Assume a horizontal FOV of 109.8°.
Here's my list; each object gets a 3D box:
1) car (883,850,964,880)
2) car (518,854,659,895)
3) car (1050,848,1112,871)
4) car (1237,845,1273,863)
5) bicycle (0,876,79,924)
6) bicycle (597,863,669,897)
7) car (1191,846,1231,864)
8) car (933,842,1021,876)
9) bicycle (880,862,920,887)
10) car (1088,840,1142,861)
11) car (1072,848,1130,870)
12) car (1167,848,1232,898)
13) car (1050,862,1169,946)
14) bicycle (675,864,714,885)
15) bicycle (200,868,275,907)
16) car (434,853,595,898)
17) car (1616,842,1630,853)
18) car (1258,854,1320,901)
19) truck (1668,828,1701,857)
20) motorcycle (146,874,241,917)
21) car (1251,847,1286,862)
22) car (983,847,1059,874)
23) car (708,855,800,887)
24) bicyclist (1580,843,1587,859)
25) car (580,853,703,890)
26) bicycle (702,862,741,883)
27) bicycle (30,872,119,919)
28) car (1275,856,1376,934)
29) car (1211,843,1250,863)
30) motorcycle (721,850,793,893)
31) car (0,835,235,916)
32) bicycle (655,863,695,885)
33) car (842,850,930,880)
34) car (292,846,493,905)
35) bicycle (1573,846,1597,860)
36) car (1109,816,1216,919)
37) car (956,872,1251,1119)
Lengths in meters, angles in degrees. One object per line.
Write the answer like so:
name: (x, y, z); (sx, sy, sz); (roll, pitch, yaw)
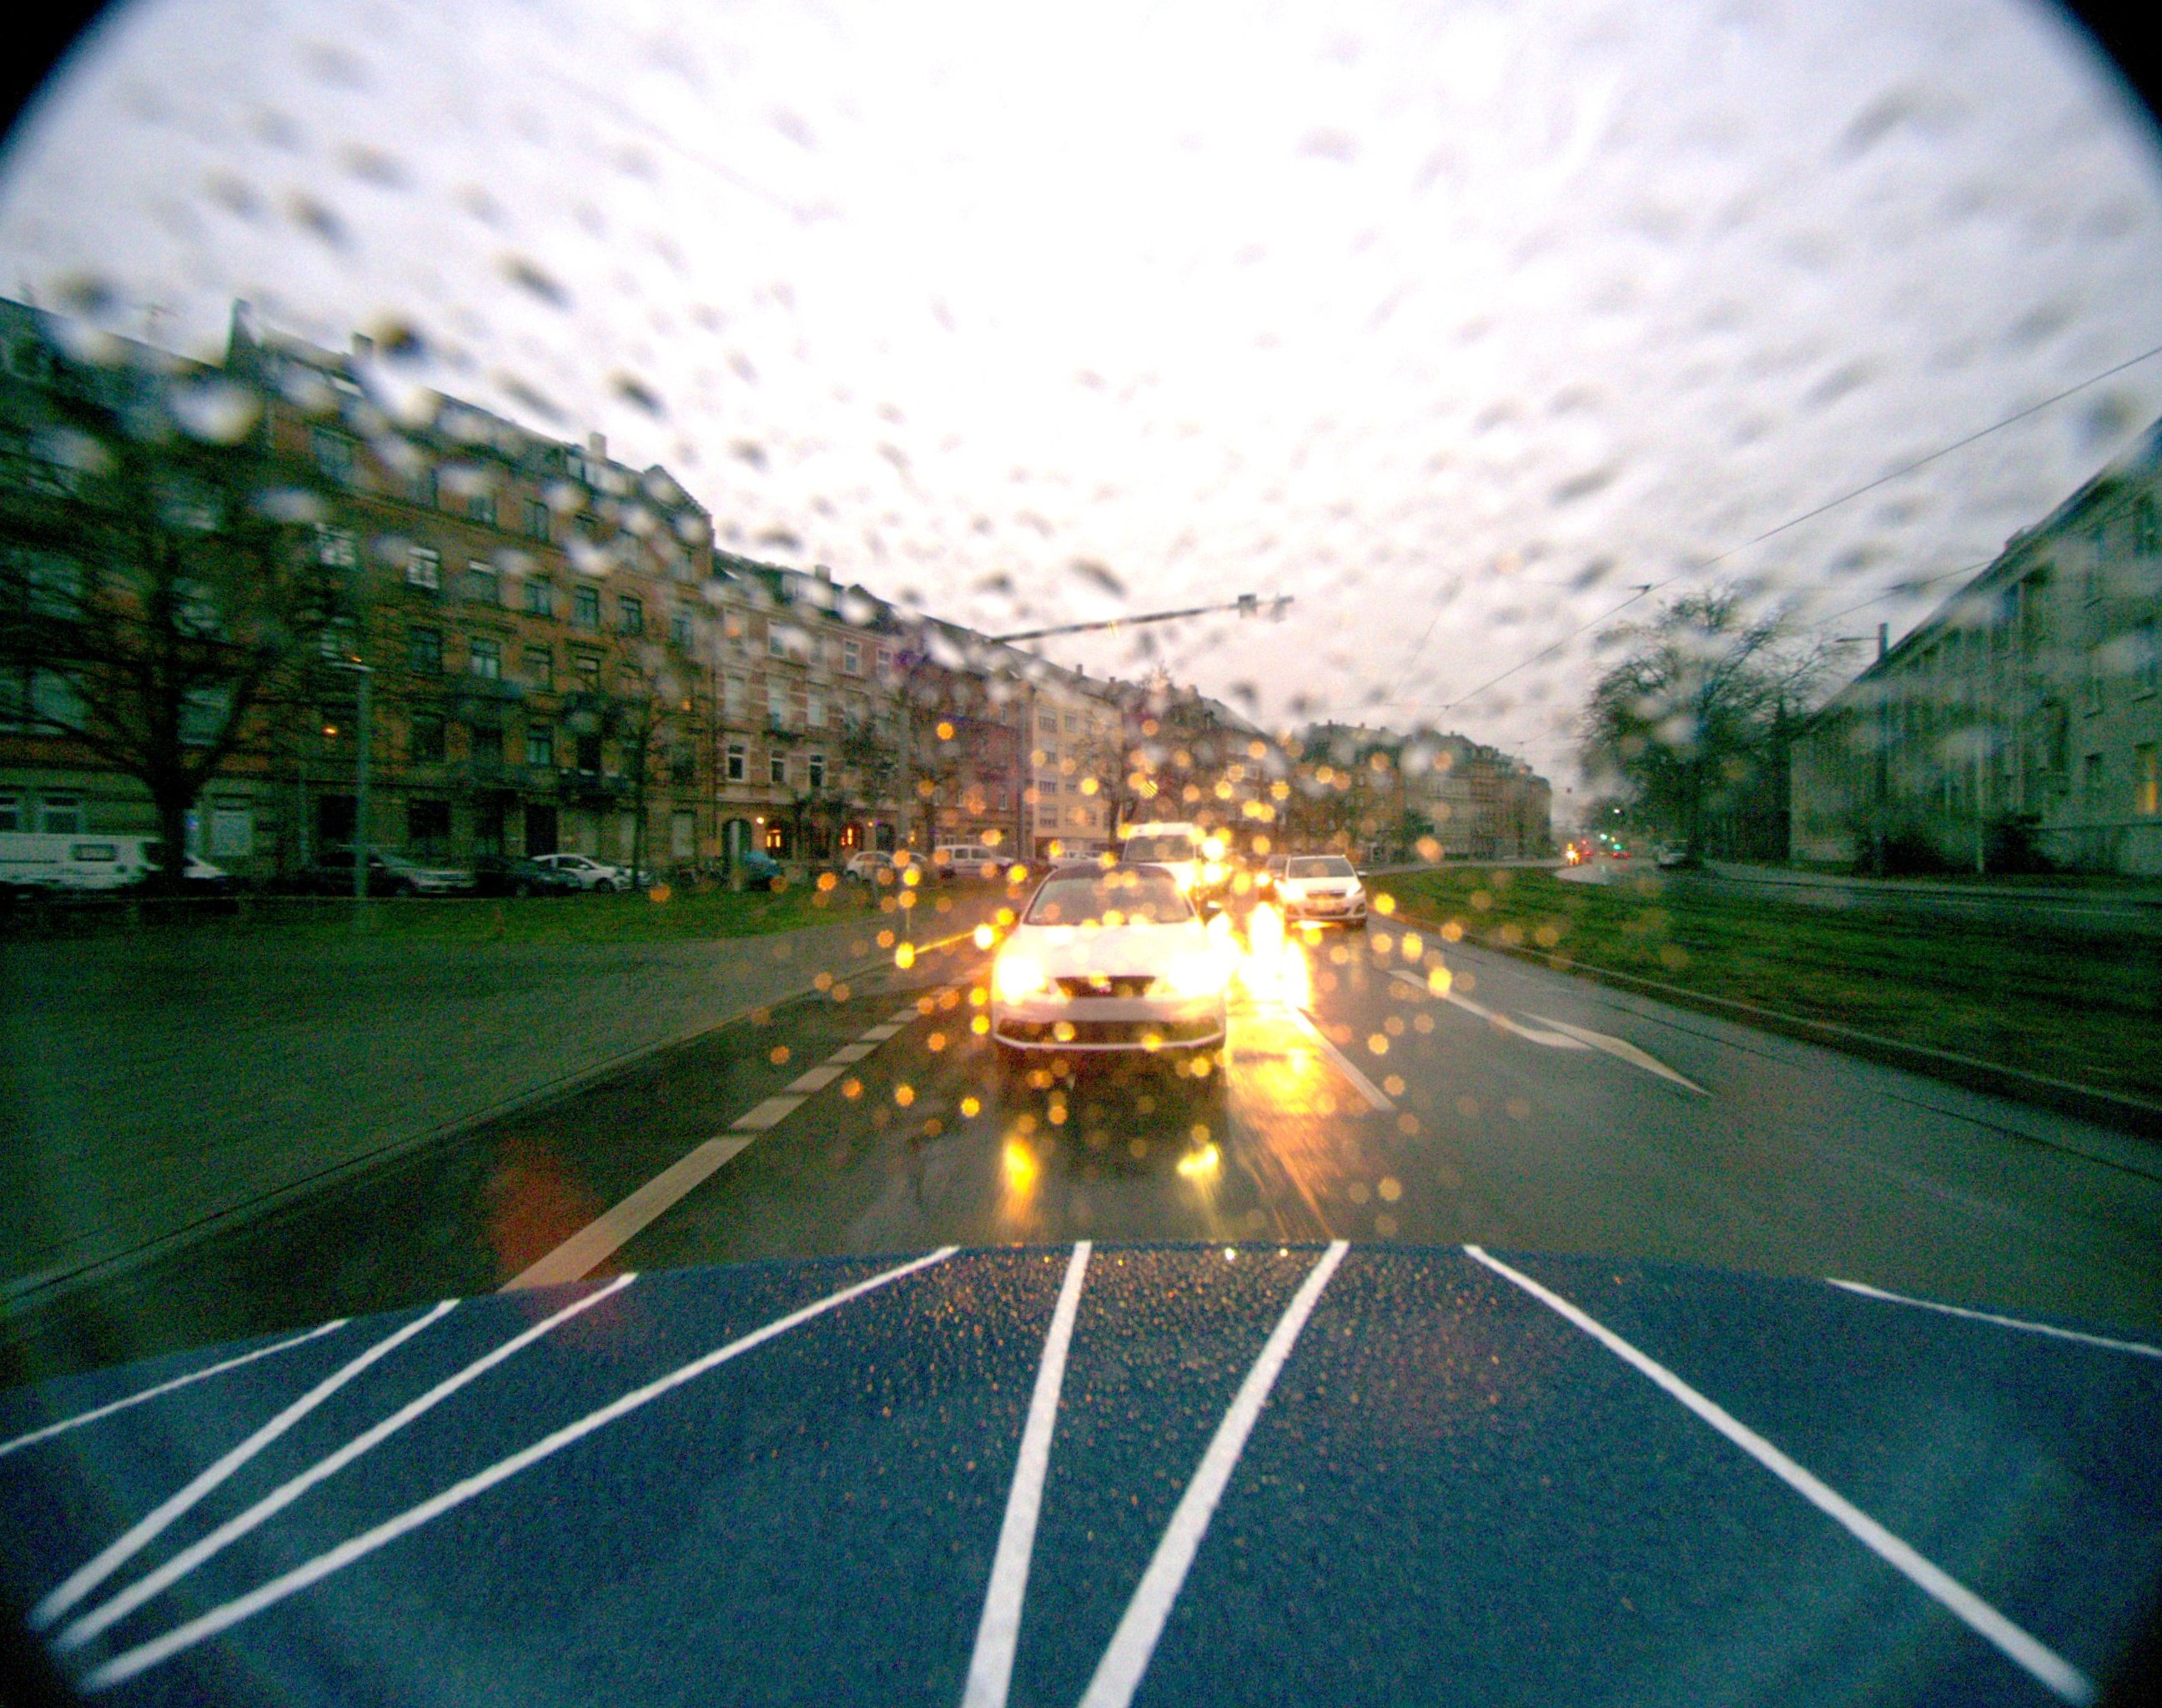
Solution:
car: (-7.900, 0.532, 38.214); (3.683, 1.428, 1.522); (0, 1, 7)
car: (-16.405, 0.680, 25.418); (3.684, 1.298, 1.669); (0, 0, 5)
car: (0.024, 0.324, 47.423); (3.609, 1.362, 1.619); (0, 1, 10)
car: (16.096, -0.038, 70.159); (3.181, 1.615, 1.447); (0, 1, 14)
bicycle: (-22.087, 0.954, 16.014); (1.792, 0.926, 0.446); (1, 1, 12)
bicycle: (-13.979, 0.799, 23.727); (1.911, 1.013, 0.535); (1, 2, -34)
car: (10.813, 0.068, 63.242); (3.181, 1.420, 1.430); (0, 1, 14)
car: (-5.504, 0.256, 40.501); (4.340, 1.758, 1.782); (0, 1, 6)
bicycle: (-7.160, 0.805, 30.064); (1.790, 0.926, 0.447); (2, 2, 34)
car: (2.360, -0.242, 52.228); (3.610, 1.362, 1.618); (0, 0, 4)
car: (1.331, 0.319, 49.758); (3.609, 1.362, 1.619); (0, 1, 10)
car: (4.523, 0.647, 28.446); (1.874, 1.679, 4.175); (-1, 1, 16)
car: (0.709, 0.905, 15.299); (1.721, 1.380, 3.825); (-1, 0, 12)
bicycle: (-15.159, 0.795, 29.792); (1.790, 0.773, 0.447); (2, 1, 30)
bicycle: (-21.689, 0.848, 19.550); (1.792, 0.926, 0.446); (1, 1, 12)
car: (-17.230, 0.636, 23.202); (3.684, 1.298, 1.743); (0, 0, 5)
car: (81.103, -1.027, 113.715); (1.686, 1.630, 3.654); (0, 1, 36)
car: (7.130, 0.755, 26.036); (1.874, 1.466, 4.176); (-1, 0, 16)
truck: (43.332, -0.814, 54.557); (1.833, 2.032, 4.008); (0, 1, 39)
motorcycle: (-20.717, 0.962, 17.737); (1.793, 0.926, 0.513); (1, 1, 6)
car: (17.942, 0.078, 72.545); (3.180, 1.405, 1.383); (0, 1, 16)
car: (-3.336, 0.361, 42.695); (3.958, 1.436, 1.703); (0, 1, 11)
car: (-13.932, 0.721, 32.452); (3.297, 1.298, 1.522); (0, 1, 7)
bicyclist: (62.411, -0.378, 94.359); (0.777, 2.002, 0.831); (-1, 2, 33)
car: (-16.078, 0.621, 27.869); (3.684, 1.298, 1.521); (0, 1, 5)
bicycle: (-14.611, 0.746, 30.872); (1.790, 0.813, 0.395); (2, 2, 27)
bicycle: (-21.976, 0.893, 16.589); (1.792, 0.926, 0.446); (1, 1, 12)
car: (5.028, 0.786, 16.005); (1.688, 1.422, 3.349); (-1, 0, 12)
car: (12.924, -0.081, 65.686); (3.181, 1.615, 1.430); (0, 1, 14)
motorcycle: (-11.397, 0.592, 26.750); (2.352, 1.338, 0.886); (3, 2, 20)
car: (-28.616, 0.565, 22.394); (1.994, 2.176, 4.671); (0, 0, 34)
bicycle: (-15.671, 0.767, 29.321); (1.790, 0.790, 0.447); (2, 1, 30)
car: (-9.128, 0.510, 35.755); (3.683, 1.391, 1.522); (0, 1, 7)
car: (-19.012, 0.580, 21.090); (4.152, 1.560, 1.743); (0, 1, 5)
bicycle: (62.504, -0.090, 94.318); (2.446, 1.697, 0.847); (-1, 1, 32)
car: (2.448, 0.320, 21.126); (2.239, 2.448, 5.674); (-1, 1, 13)
car: (0.247, 0.937, 6.831); (1.787, 1.370, 4.223); (-2, 0, 3)
